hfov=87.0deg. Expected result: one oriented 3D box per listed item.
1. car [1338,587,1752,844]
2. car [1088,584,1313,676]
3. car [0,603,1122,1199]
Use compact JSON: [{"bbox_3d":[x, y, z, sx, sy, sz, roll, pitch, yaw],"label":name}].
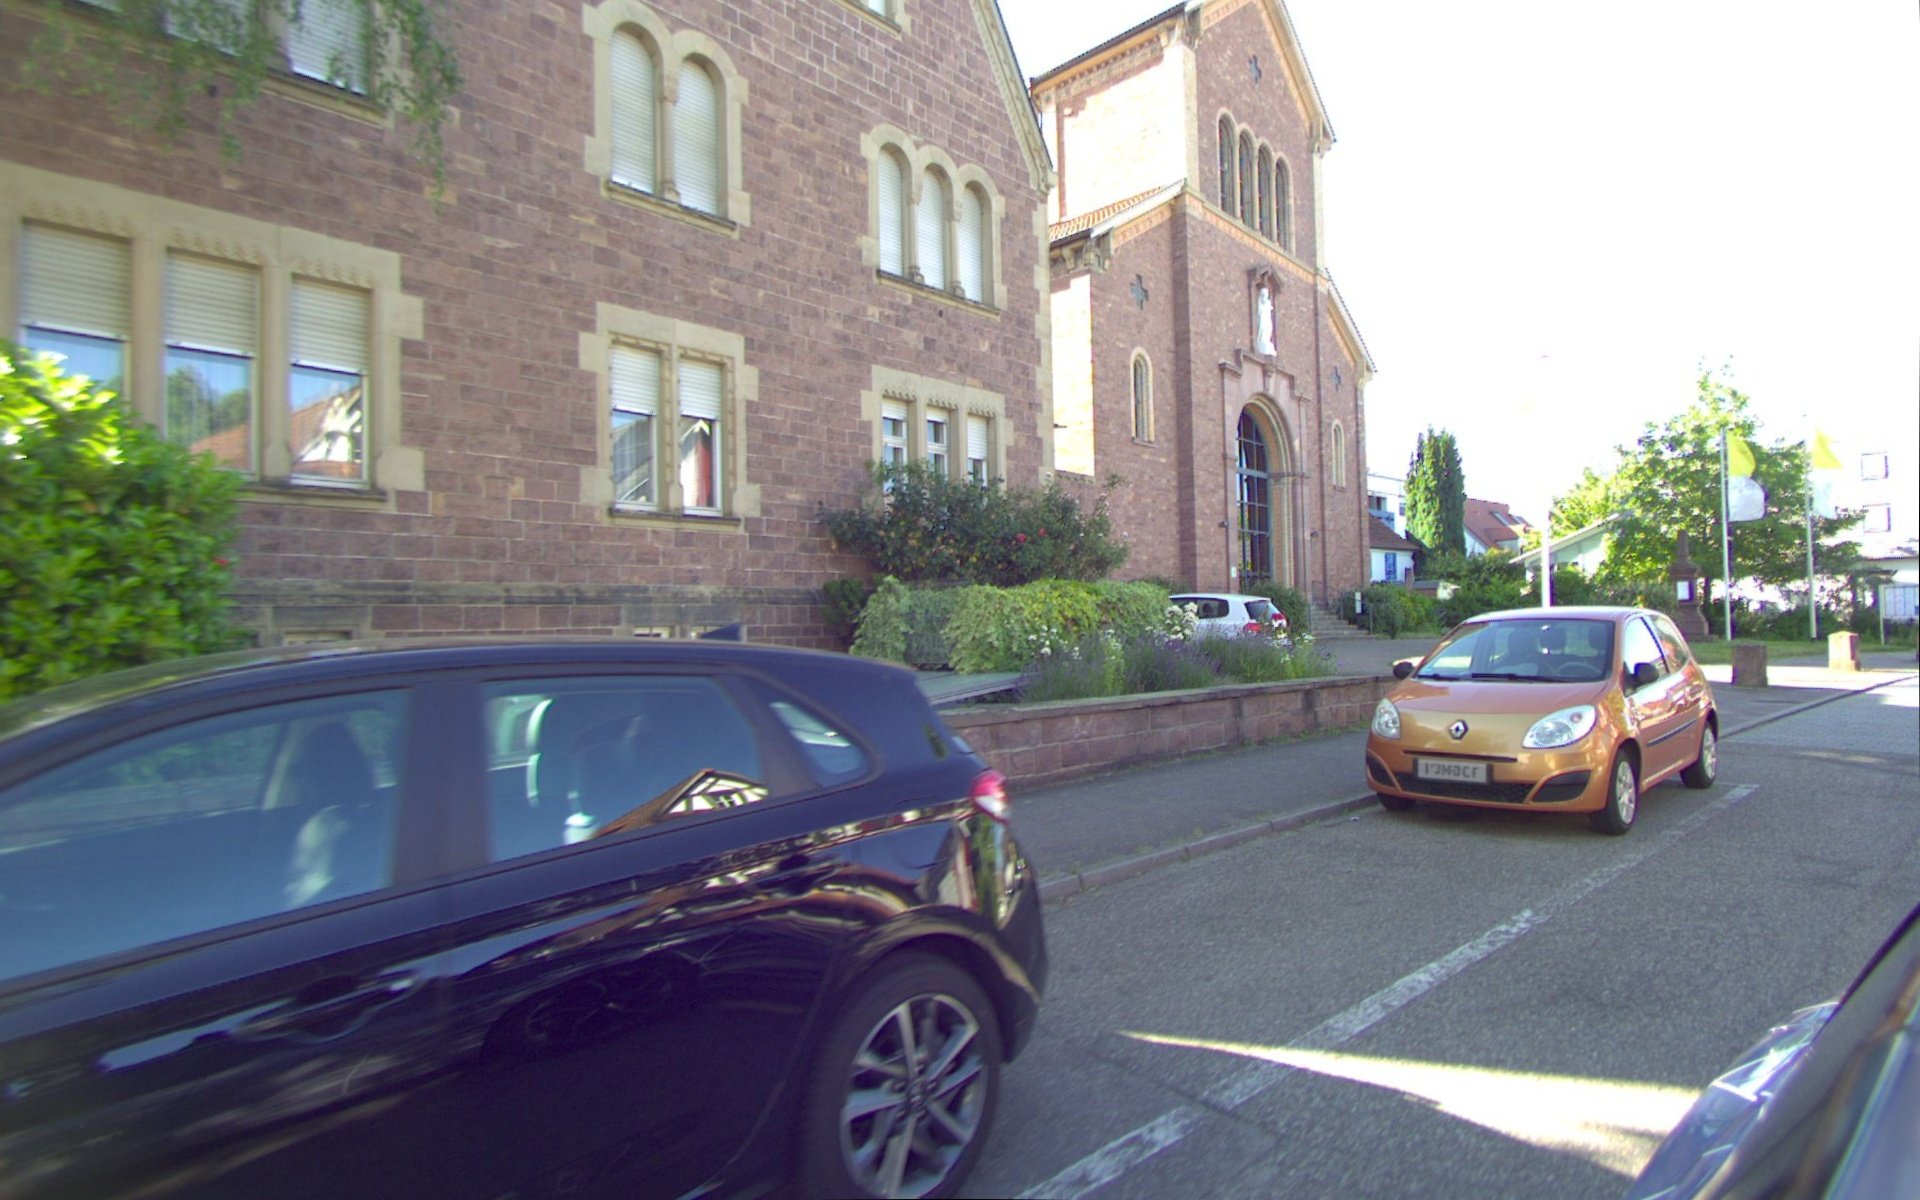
[{"bbox_3d":[4.673,0.706,7.848,3.866,1.498,1.649,0,-3,-42],"label":"car"},{"bbox_3d":[4.629,0.499,19.793,3.897,1.514,1.876,2,3,43],"label":"car"},{"bbox_3d":[-1.716,0.768,2.105,4.212,1.454,1.809,0,-3,-42],"label":"car"}]
